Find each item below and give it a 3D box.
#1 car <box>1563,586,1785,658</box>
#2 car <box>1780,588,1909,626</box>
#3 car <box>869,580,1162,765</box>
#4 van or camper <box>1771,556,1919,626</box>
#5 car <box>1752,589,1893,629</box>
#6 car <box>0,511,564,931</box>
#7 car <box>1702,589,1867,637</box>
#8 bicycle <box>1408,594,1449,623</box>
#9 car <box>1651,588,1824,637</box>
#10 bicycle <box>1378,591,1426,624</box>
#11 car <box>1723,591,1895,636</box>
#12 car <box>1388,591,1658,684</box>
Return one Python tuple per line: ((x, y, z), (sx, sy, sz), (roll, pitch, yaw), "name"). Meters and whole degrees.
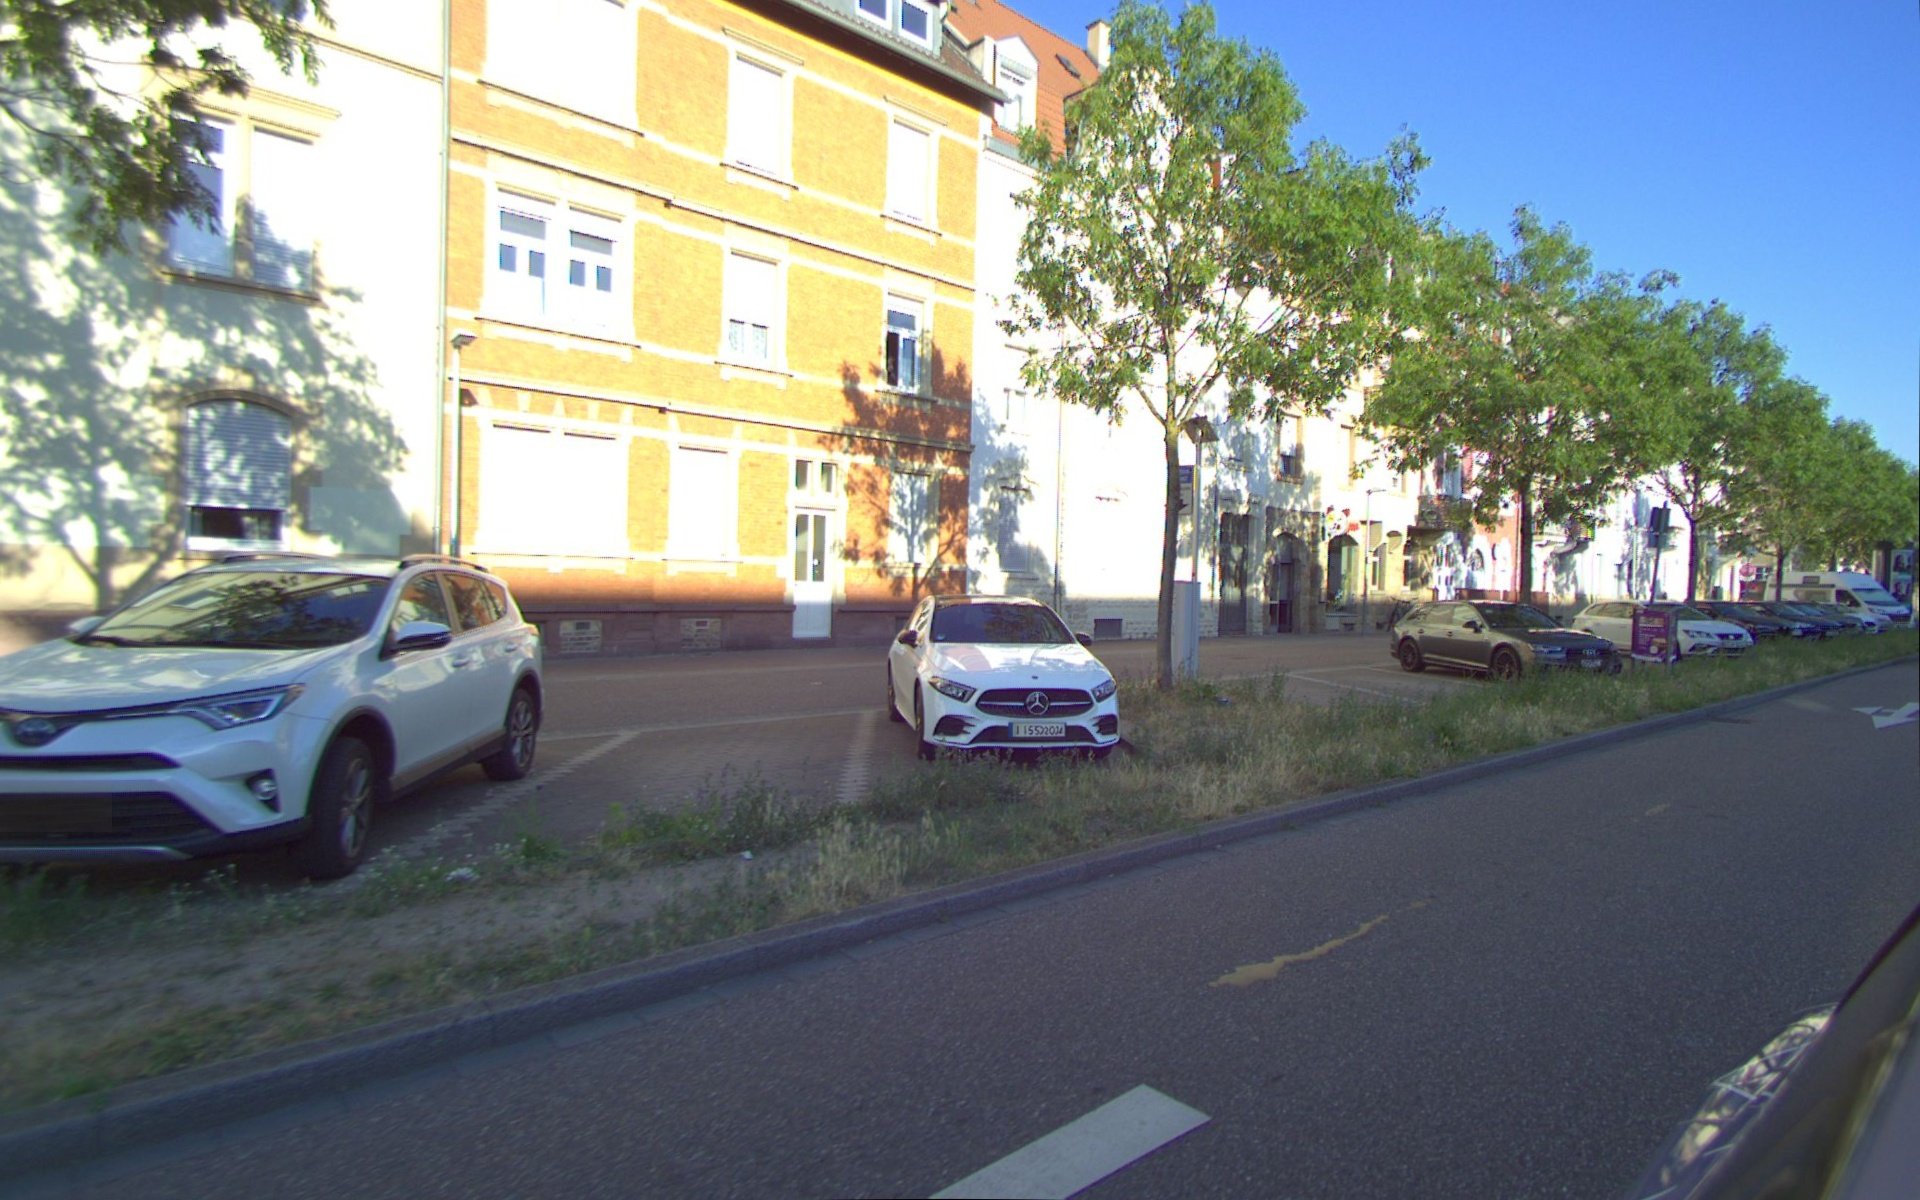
((17.253, 0.459, 24.794), (1.810, 1.528, 4.652), (1, 1, -5), "car")
((36.500, 0.257, 41.894), (1.761, 1.420, 3.926), (1, 1, -2), "car")
((0.266, 0.528, 10.325), (1.989, 1.417, 4.564), (0, 1, -10), "car")
((38.969, -0.439, 44.032), (2.159, 2.847, 5.661), (1, 1, -9), "van or camper")
((34.190, 0.322, 40.270), (1.760, 1.420, 4.280), (1, 1, -3), "car")
((-4.111, 0.455, 6.339), (1.877, 1.712, 4.438), (1, 1, -6), "car")
((27.153, 0.385, 33.510), (1.691, 1.455, 4.061), (0, 1, -12), "car")
((16.779, 0.300, 36.220), (1.894, 1.003, 0.580), (0, 1, -41), "bicycle")
((24.682, 0.354, 32.354), (1.848, 1.434, 4.440), (1, 0, -5), "car")
((15.214, 0.255, 34.829), (2.189, 1.092, 0.589), (0, 3, -41), "bicycle")
((29.472, 0.422, 35.352), (1.883, 1.441, 4.443), (1, 0, -9), "car")
((9.906, 0.583, 18.331), (1.857, 1.365, 4.591), (1, 1, -8), "car")
